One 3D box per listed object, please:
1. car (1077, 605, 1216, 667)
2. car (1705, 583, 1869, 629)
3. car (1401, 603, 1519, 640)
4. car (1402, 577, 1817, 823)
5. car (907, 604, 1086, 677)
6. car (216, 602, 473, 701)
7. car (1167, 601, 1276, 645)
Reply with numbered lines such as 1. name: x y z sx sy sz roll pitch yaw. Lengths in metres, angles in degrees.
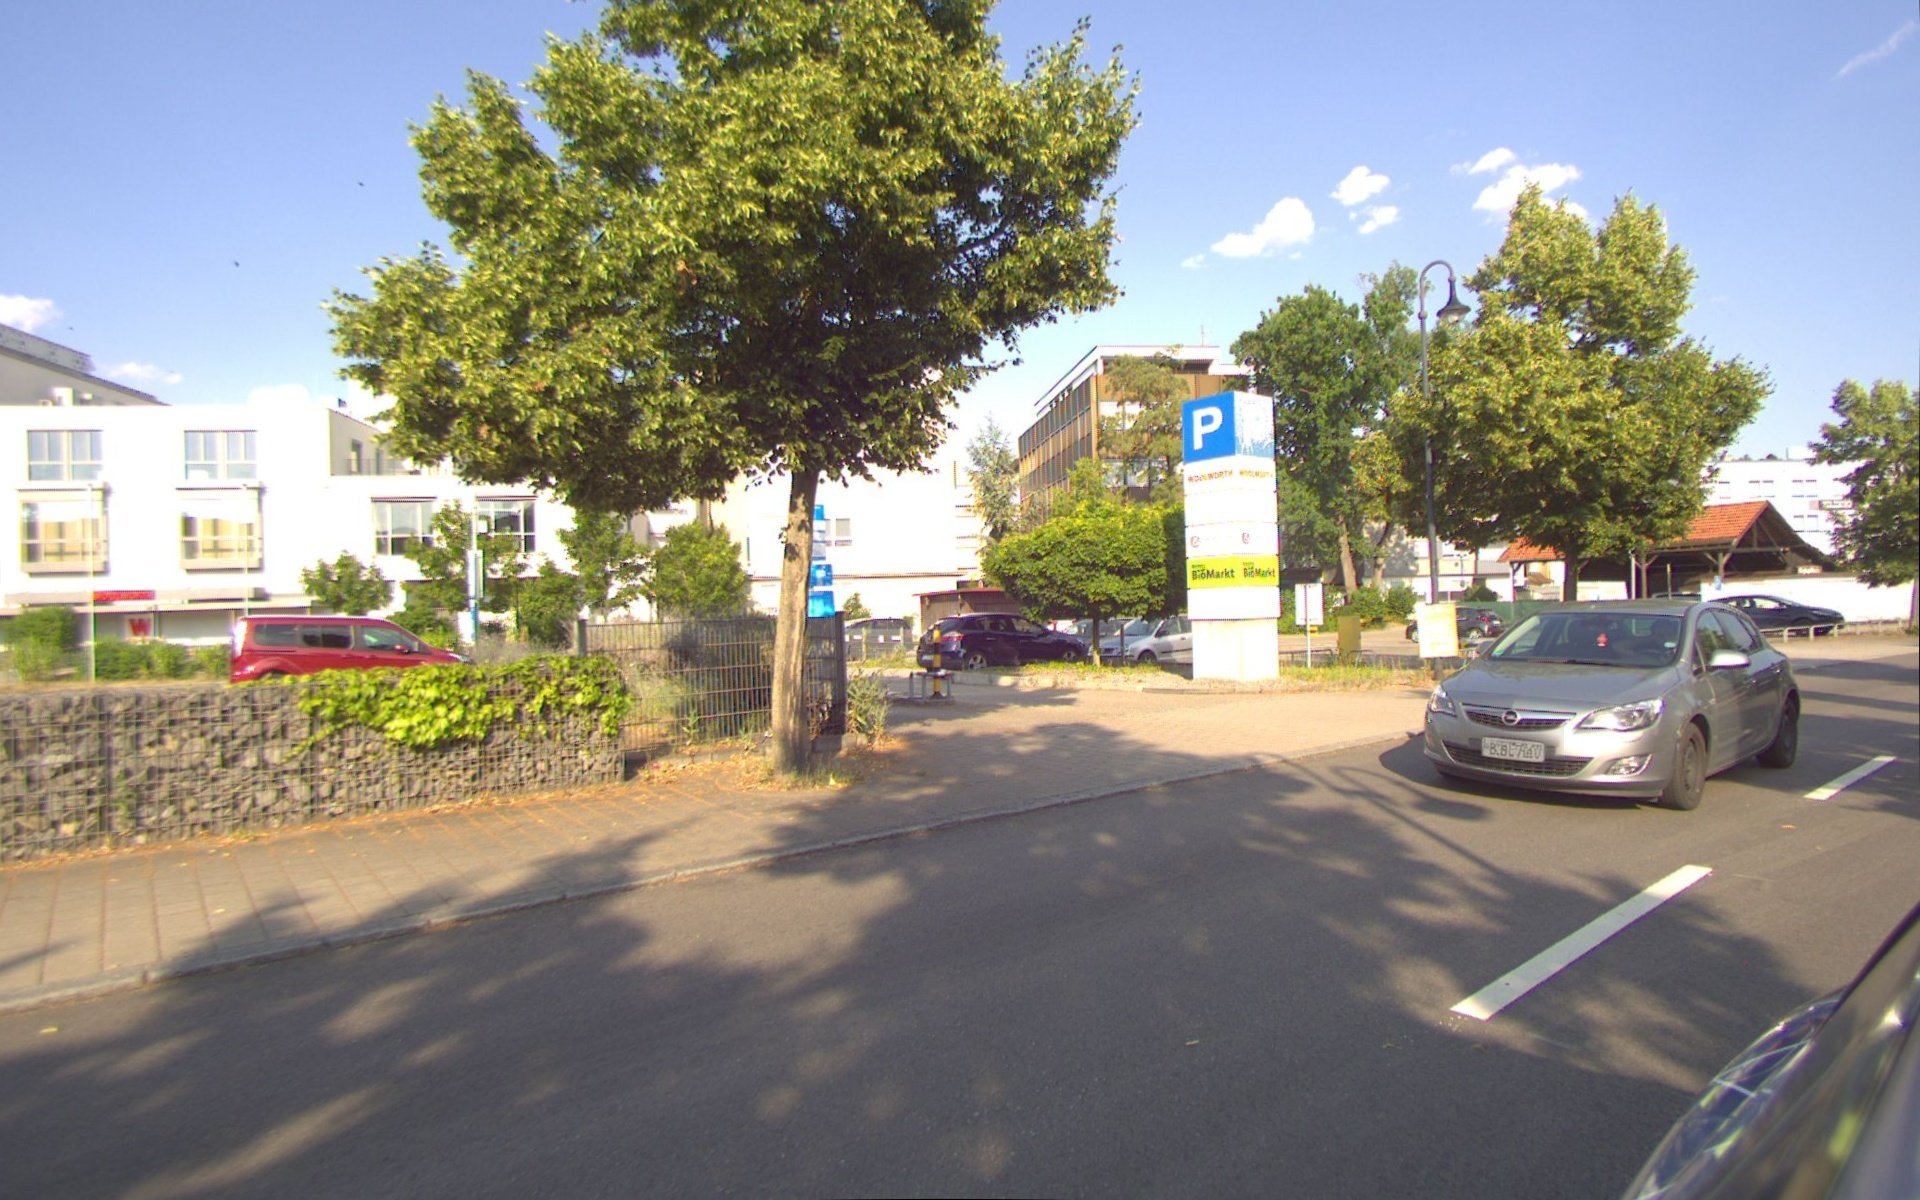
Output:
1. car: 4.683 0.876 25.346 3.204 1.417 1.616 -1 -1 -34
2. car: 27.579 0.226 33.873 1.900 1.438 3.839 -1 -1 -33
3. car: 20.852 0.898 42.337 1.900 1.438 4.001 -1 -1 -33
4. car: 5.458 0.600 8.271 4.231 1.509 1.724 0 0 -41
5. car: 0.861 0.867 23.027 3.790 1.481 1.659 -1 -1 -33
6. car: -13.213 1.025 21.852 4.563 1.878 1.998 0 -1 -38
7. car: 10.508 0.920 40.936 1.899 1.676 4.088 -1 -1 -30
